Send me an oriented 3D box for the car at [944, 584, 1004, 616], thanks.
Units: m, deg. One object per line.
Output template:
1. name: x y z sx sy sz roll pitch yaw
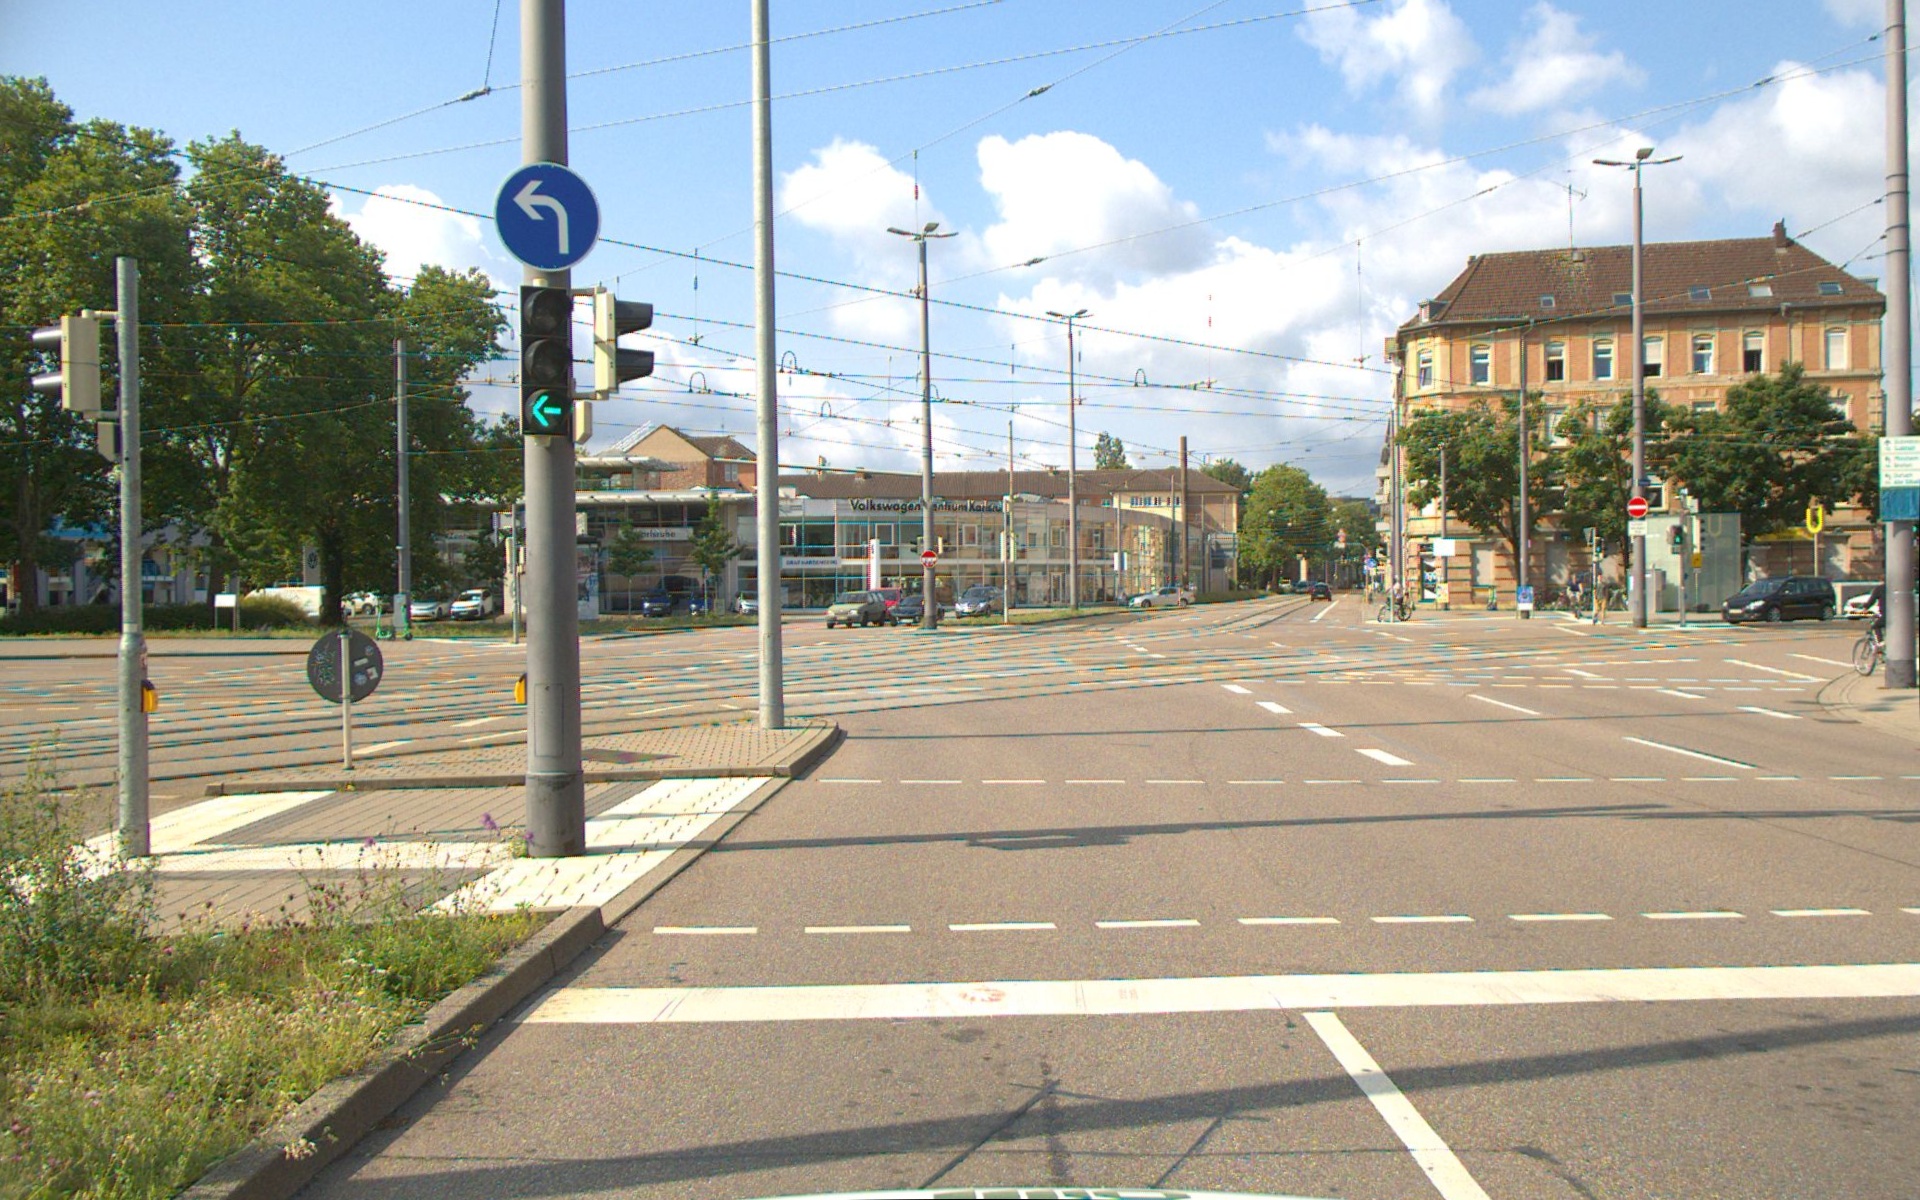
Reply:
1. car: 0.738 0.002 84.942 1.952 1.579 4.002 -1 0 18

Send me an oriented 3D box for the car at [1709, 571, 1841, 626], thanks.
1. car: 28.093 -0.044 56.993 4.277 1.770 1.982 1 0 -28

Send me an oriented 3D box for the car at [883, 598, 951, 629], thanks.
1. car: -1.673 0.527 65.522 1.587 1.182 4.003 1 0 15

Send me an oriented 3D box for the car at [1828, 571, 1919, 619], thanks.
1. car: 33.763 -0.199 59.768 4.616 1.623 1.982 -2 1 -28

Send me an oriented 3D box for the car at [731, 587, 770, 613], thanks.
1. car: -13.188 -0.002 104.120 1.880 1.579 4.000 -1 0 1

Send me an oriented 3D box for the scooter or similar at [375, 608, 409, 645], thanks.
1. scooter or similar: -18.831 0.874 54.877 0.375 1.177 0.923 5 1 45

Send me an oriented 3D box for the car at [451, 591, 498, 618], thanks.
1. car: -30.180 0.276 102.925 2.027 1.632 3.996 -1 0 -5

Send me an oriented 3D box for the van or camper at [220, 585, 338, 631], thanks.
1. van or camper: -39.285 0.456 95.528 5.754 2.512 2.394 1 0 3

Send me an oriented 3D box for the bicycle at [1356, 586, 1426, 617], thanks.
1. bicycle: 17.439 0.067 66.970 2.618 1.191 0.900 -1 0 -4

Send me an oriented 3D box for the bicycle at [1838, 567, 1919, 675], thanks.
1. bicycle: 15.719 0.358 28.356 0.985 1.755 2.467 1 0 24

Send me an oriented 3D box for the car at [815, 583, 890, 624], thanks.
1. car: -4.264 0.154 65.968 1.782 1.539 4.003 1 0 15

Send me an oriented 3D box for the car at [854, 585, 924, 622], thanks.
1. car: -3.064 0.155 72.083 1.951 1.545 4.003 1 0 15

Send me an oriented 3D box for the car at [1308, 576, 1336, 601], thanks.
1. car: 30.624 -0.999 140.015 1.951 2.049 4.002 -1 0 17

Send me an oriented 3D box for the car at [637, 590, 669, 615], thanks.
1. car: -18.982 0.151 102.381 1.885 1.470 3.990 -1 0 -10

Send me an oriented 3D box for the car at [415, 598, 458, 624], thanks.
1. car: -32.574 0.669 103.031 1.957 1.601 3.992 1 0 -9

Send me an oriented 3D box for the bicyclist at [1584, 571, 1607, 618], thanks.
1. bicyclist: 23.451 -0.210 61.048 0.561 1.700 0.655 -1 0 -4

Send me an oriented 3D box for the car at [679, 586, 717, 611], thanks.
1. car: -16.136 -0.082 101.954 1.881 1.470 3.998 -1 0 -3

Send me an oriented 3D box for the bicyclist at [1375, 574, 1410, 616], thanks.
1. bicyclist: 17.508 -0.200 66.932 1.170 1.687 0.785 -1 0 -4

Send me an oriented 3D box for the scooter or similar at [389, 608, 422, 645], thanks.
1. scooter or similar: -18.317 0.881 54.606 0.374 1.177 0.927 5 1 33

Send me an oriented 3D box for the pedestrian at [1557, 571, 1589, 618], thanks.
1. pedestrian: 24.534 -0.218 66.178 0.850 1.841 0.884 1 -1 -13

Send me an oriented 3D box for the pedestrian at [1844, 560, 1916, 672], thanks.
1. pedestrian: 15.760 0.275 28.352 0.972 1.873 0.995 1 -1 25

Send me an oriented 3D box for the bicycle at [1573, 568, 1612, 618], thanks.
1. bicycle: 23.405 -0.266 61.239 0.715 1.808 1.636 -1 0 -4

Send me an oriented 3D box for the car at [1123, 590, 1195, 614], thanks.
1. car: 13.208 0.135 109.834 4.393 1.490 1.775 1 0 -15
